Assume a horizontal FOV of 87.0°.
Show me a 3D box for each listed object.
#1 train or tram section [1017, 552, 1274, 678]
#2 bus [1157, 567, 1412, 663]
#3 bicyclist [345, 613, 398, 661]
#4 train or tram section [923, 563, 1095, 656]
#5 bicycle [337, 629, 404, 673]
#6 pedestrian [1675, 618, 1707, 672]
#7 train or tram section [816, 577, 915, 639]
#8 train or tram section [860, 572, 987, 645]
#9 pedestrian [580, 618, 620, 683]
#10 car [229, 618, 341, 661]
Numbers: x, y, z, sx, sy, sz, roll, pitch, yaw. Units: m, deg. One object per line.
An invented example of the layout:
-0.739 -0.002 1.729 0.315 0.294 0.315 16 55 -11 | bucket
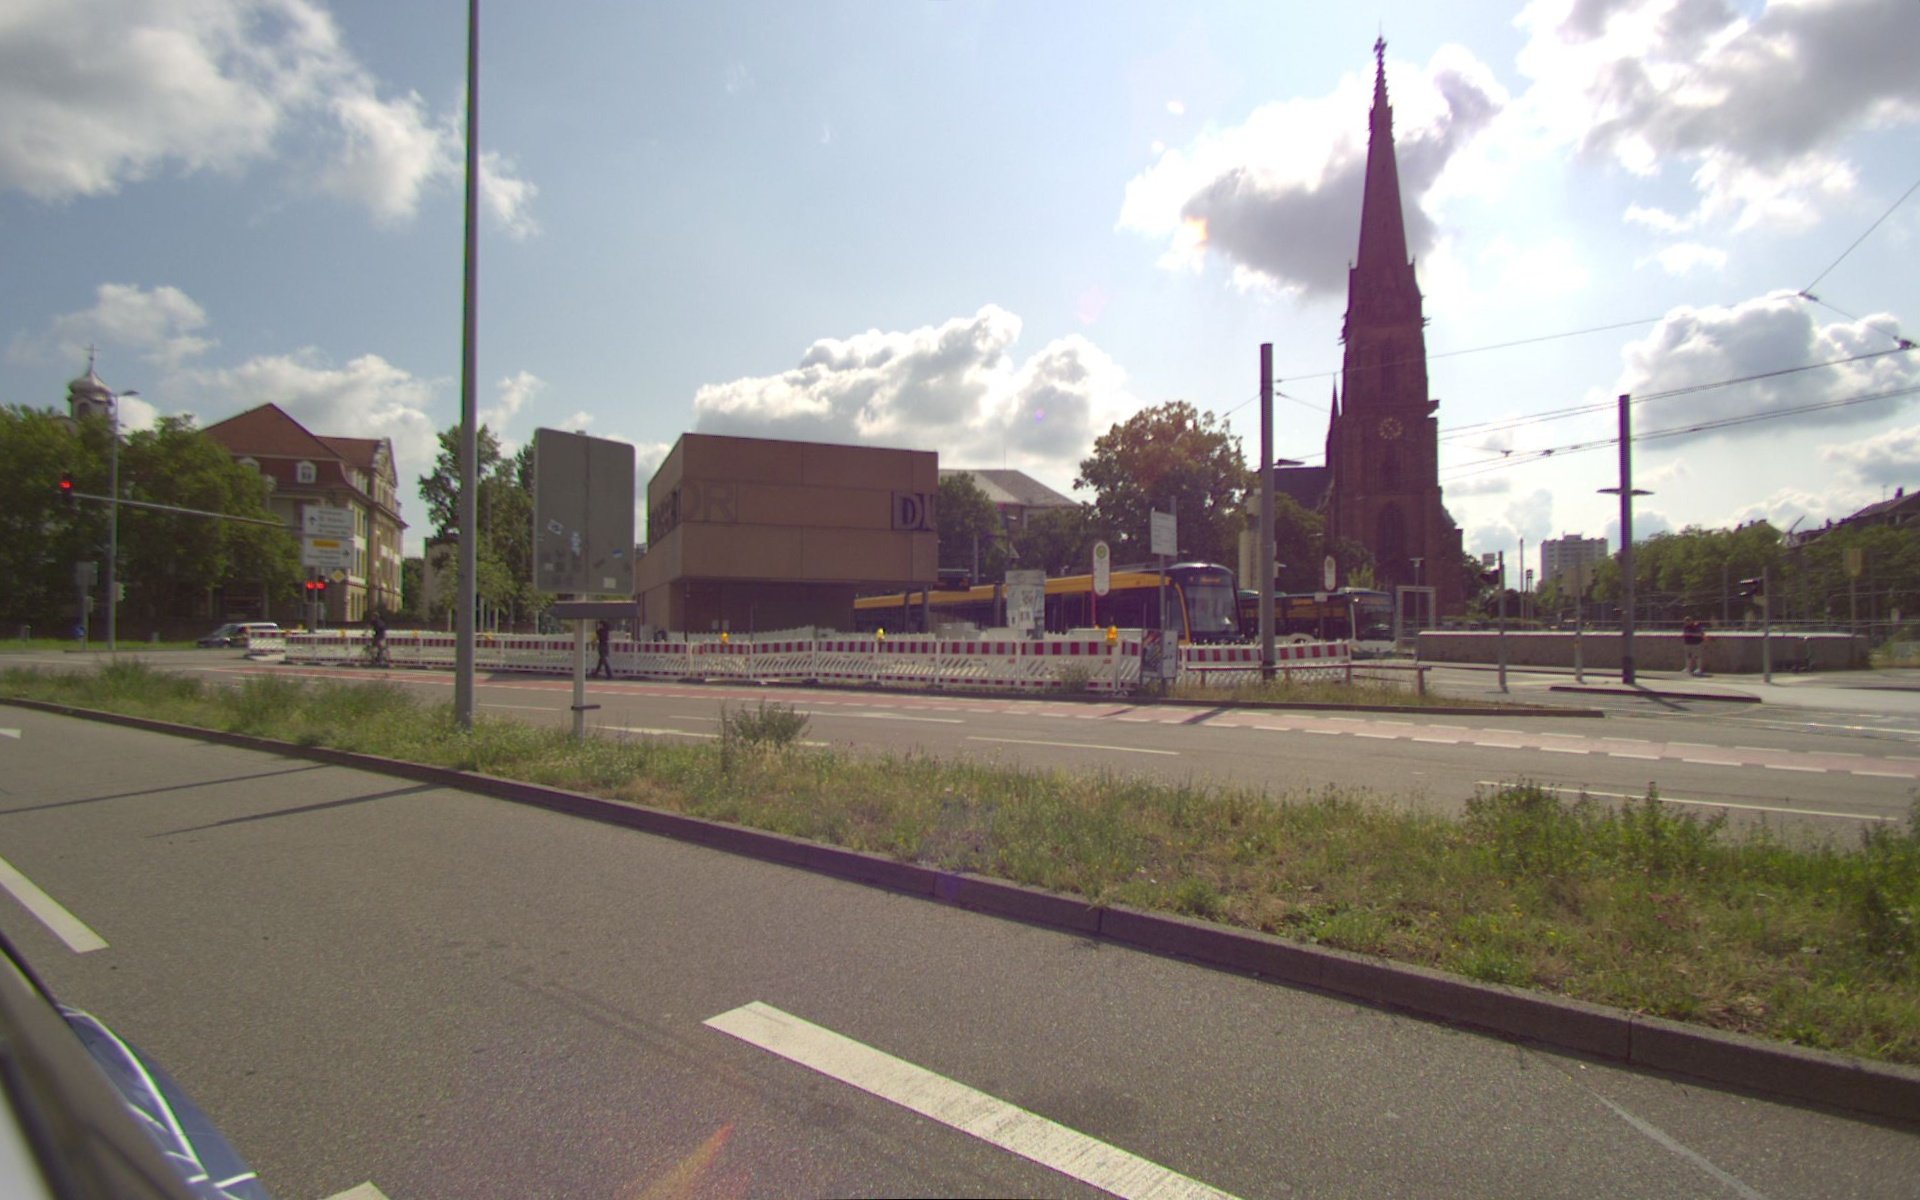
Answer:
5.652 0.423 33.846 3.267 3.507 10.643 -1 0 -22 | train or tram section
13.719 0.797 44.732 2.865 3.648 12.417 1 -2 -26 | bus
-19.835 1.241 34.122 1.769 1.575 0.770 -1 -2 30 | bicyclist
1.762 0.372 43.807 3.267 3.507 10.643 -1 0 -22 | train or tram section
-19.826 1.697 34.039 2.285 1.421 0.963 -1 -2 31 | bicycle
24.904 1.520 34.486 0.708 1.808 0.564 1 -2 -23 | pedestrian
-6.157 0.463 63.578 3.267 3.507 10.643 -1 0 -22 | train or tram section
-2.205 0.418 53.708 3.267 3.507 10.643 -1 0 -22 | train or tram section
-10.190 1.418 28.656 1.000 1.777 0.644 -2 -2 39 | pedestrian
-29.656 1.730 44.633 3.931 1.796 2.006 1 -2 -30 | car
